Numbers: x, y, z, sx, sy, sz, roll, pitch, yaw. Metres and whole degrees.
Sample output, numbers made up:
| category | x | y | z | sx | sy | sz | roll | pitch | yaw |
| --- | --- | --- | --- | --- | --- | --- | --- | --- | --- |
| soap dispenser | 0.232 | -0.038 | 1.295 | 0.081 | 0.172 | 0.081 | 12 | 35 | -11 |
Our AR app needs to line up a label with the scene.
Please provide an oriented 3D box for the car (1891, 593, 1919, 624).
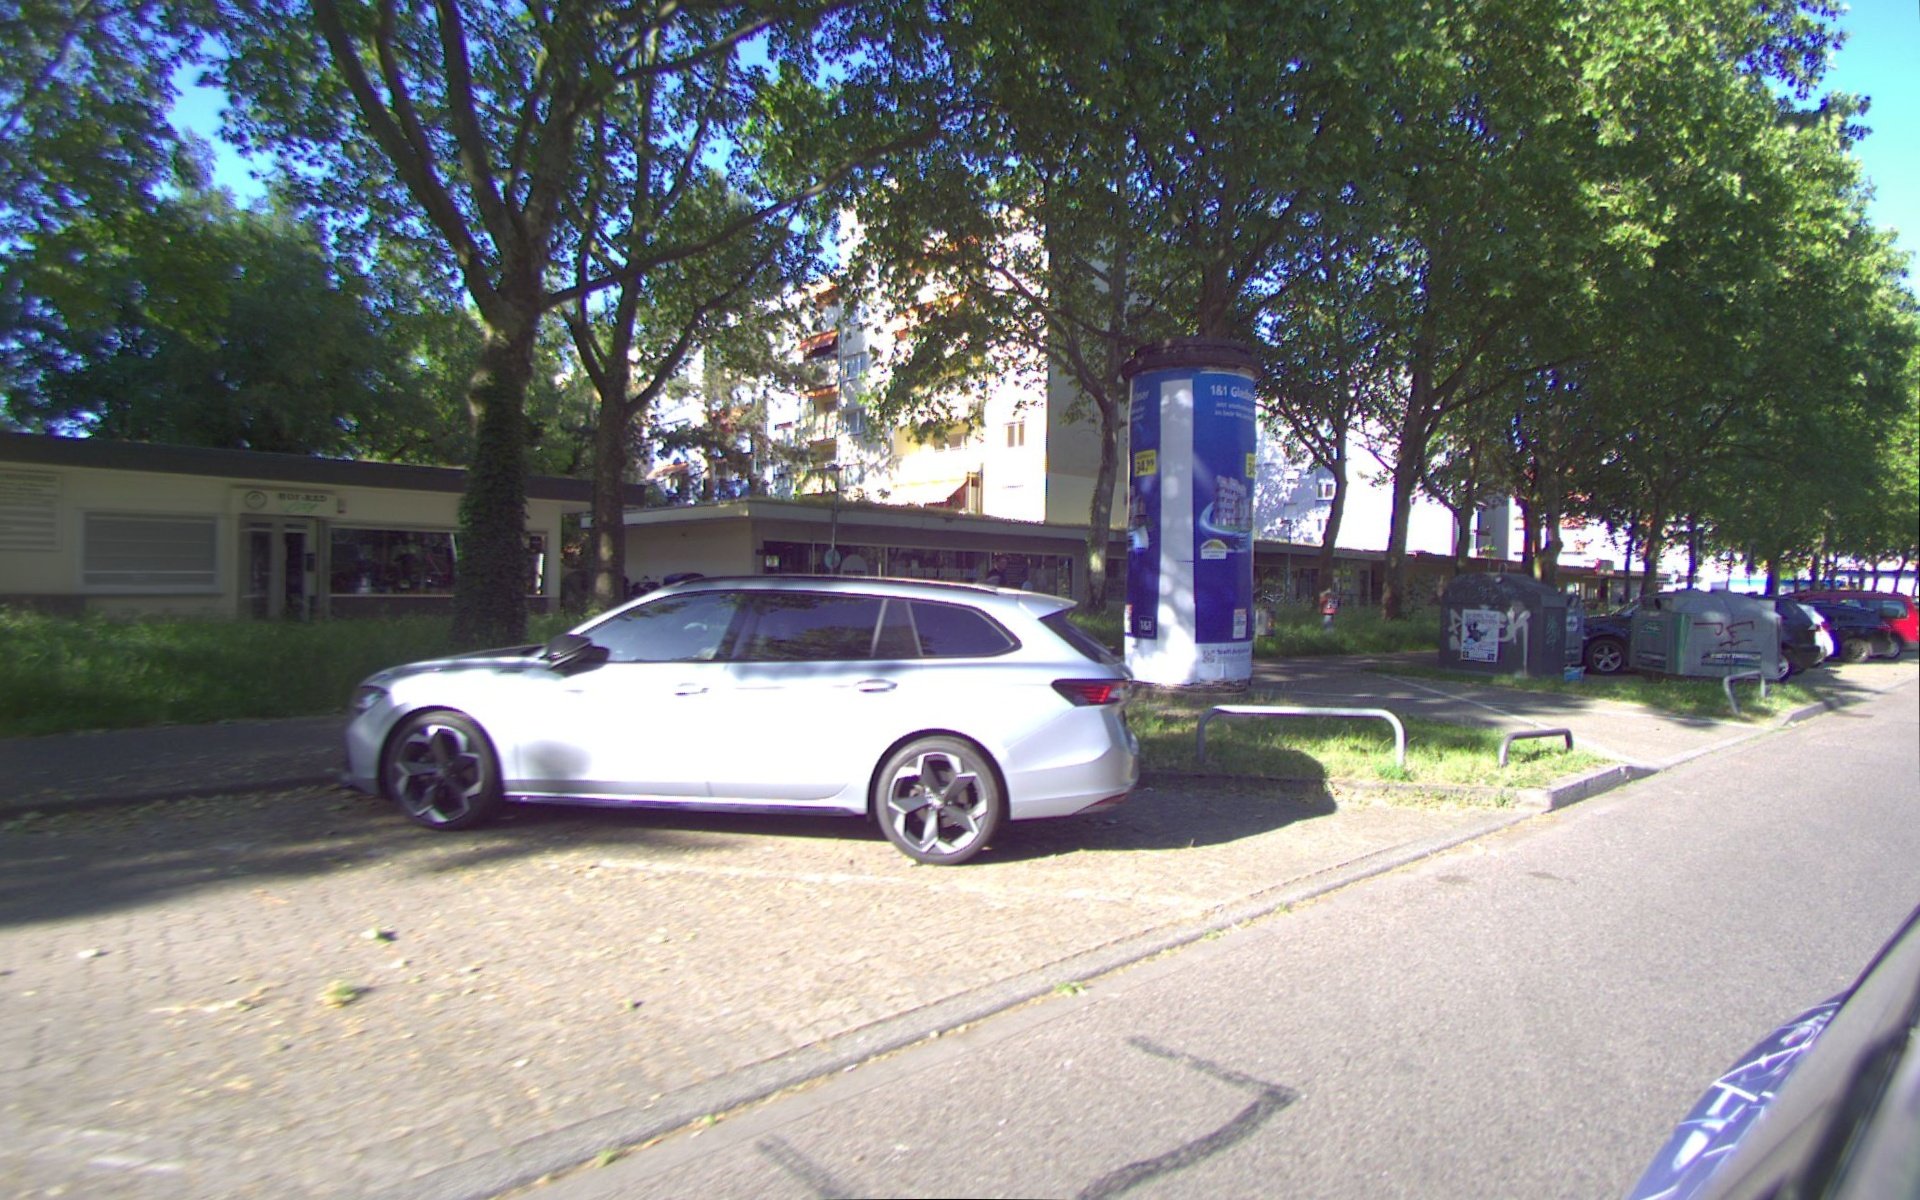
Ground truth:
| category | x | y | z | sx | sy | sz | roll | pitch | yaw |
| --- | --- | --- | --- | --- | --- | --- | --- | --- | --- |
| car | 48.308 | 0.475 | 49.257 | 4.113 | 1.429 | 1.718 | 2 | 2 | 7 |

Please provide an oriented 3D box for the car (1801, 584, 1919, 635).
| category | x | y | z | sx | sy | sz | roll | pitch | yaw |
| --- | --- | --- | --- | --- | --- | --- | --- | --- | --- |
| car | 34.297 | 0.352 | 37.847 | 3.962 | 1.726 | 1.757 | 2 | 2 | 9 |

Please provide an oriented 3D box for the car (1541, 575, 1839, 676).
| category | x | y | z | sx | sy | sz | roll | pitch | yaw |
| --- | --- | --- | --- | --- | --- | --- | --- | --- | --- |
| car | 13.748 | 0.438 | 19.315 | 4.253 | 1.738 | 1.631 | 1 | 1 | 11 |

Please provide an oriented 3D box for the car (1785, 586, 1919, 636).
| category | x | y | z | sx | sy | sz | roll | pitch | yaw |
| --- | --- | --- | --- | --- | --- | --- | --- | --- | --- |
| car | 29.351 | 0.342 | 32.897 | 3.562 | 1.466 | 1.650 | 2 | 2 | 4 |

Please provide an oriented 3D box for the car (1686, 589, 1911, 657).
| category | x | y | z | sx | sy | sz | roll | pitch | yaw |
| --- | --- | --- | --- | --- | --- | --- | --- | --- | --- |
| car | 21.357 | 0.545 | 25.950 | 4.025 | 1.499 | 1.644 | 2 | 2 | 14 |

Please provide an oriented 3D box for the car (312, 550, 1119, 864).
| category | x | y | z | sx | sy | sz | roll | pitch | yaw |
| --- | --- | --- | --- | --- | --- | --- | --- | --- | --- |
| car | -1.317 | 0.500 | 6.300 | 4.416 | 1.461 | 1.854 | 2 | 2 | 7 |

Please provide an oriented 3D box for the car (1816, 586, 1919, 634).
| category | x | y | z | sx | sy | sz | roll | pitch | yaw |
| --- | --- | --- | --- | --- | --- | --- | --- | --- | --- |
| car | 32.206 | 0.352 | 34.917 | 3.722 | 1.488 | 1.649 | 2 | 2 | 7 |

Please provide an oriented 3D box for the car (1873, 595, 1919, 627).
| category | x | y | z | sx | sy | sz | roll | pitch | yaw |
| --- | --- | --- | --- | --- | --- | --- | --- | --- | --- |
| car | 44.994 | 0.558 | 46.760 | 3.871 | 1.390 | 1.585 | 2 | 2 | 7 |

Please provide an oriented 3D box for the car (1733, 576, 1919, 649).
| category | x | y | z | sx | sy | sz | roll | pitch | yaw |
| --- | --- | --- | --- | --- | --- | --- | --- | --- | --- |
| car | 24.412 | 0.321 | 28.316 | 4.020 | 1.833 | 1.647 | 2 | 2 | 10 |

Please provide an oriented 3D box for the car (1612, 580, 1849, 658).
| category | x | y | z | sx | sy | sz | roll | pitch | yaw |
| --- | --- | --- | --- | --- | --- | --- | --- | --- | --- |
| car | 18.060 | 0.410 | 23.912 | 4.016 | 1.601 | 1.778 | 2 | 2 | 8 |

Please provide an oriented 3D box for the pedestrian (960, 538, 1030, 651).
| category | x | y | z | sx | sy | sz | roll | pitch | yaw |
| --- | --- | --- | --- | --- | --- | --- | --- | --- | --- |
| pedestrian | 0.620 | -0.106 | 17.885 | 0.872 | 1.938 | 0.858 | 2 | 1 | 41 |

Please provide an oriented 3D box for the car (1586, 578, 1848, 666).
| category | x | y | z | sx | sy | sz | roll | pitch | yaw |
| --- | --- | --- | --- | --- | --- | --- | --- | --- | --- |
| car | 15.988 | 0.414 | 21.626 | 4.028 | 1.601 | 1.773 | 2 | 2 | 16 |
